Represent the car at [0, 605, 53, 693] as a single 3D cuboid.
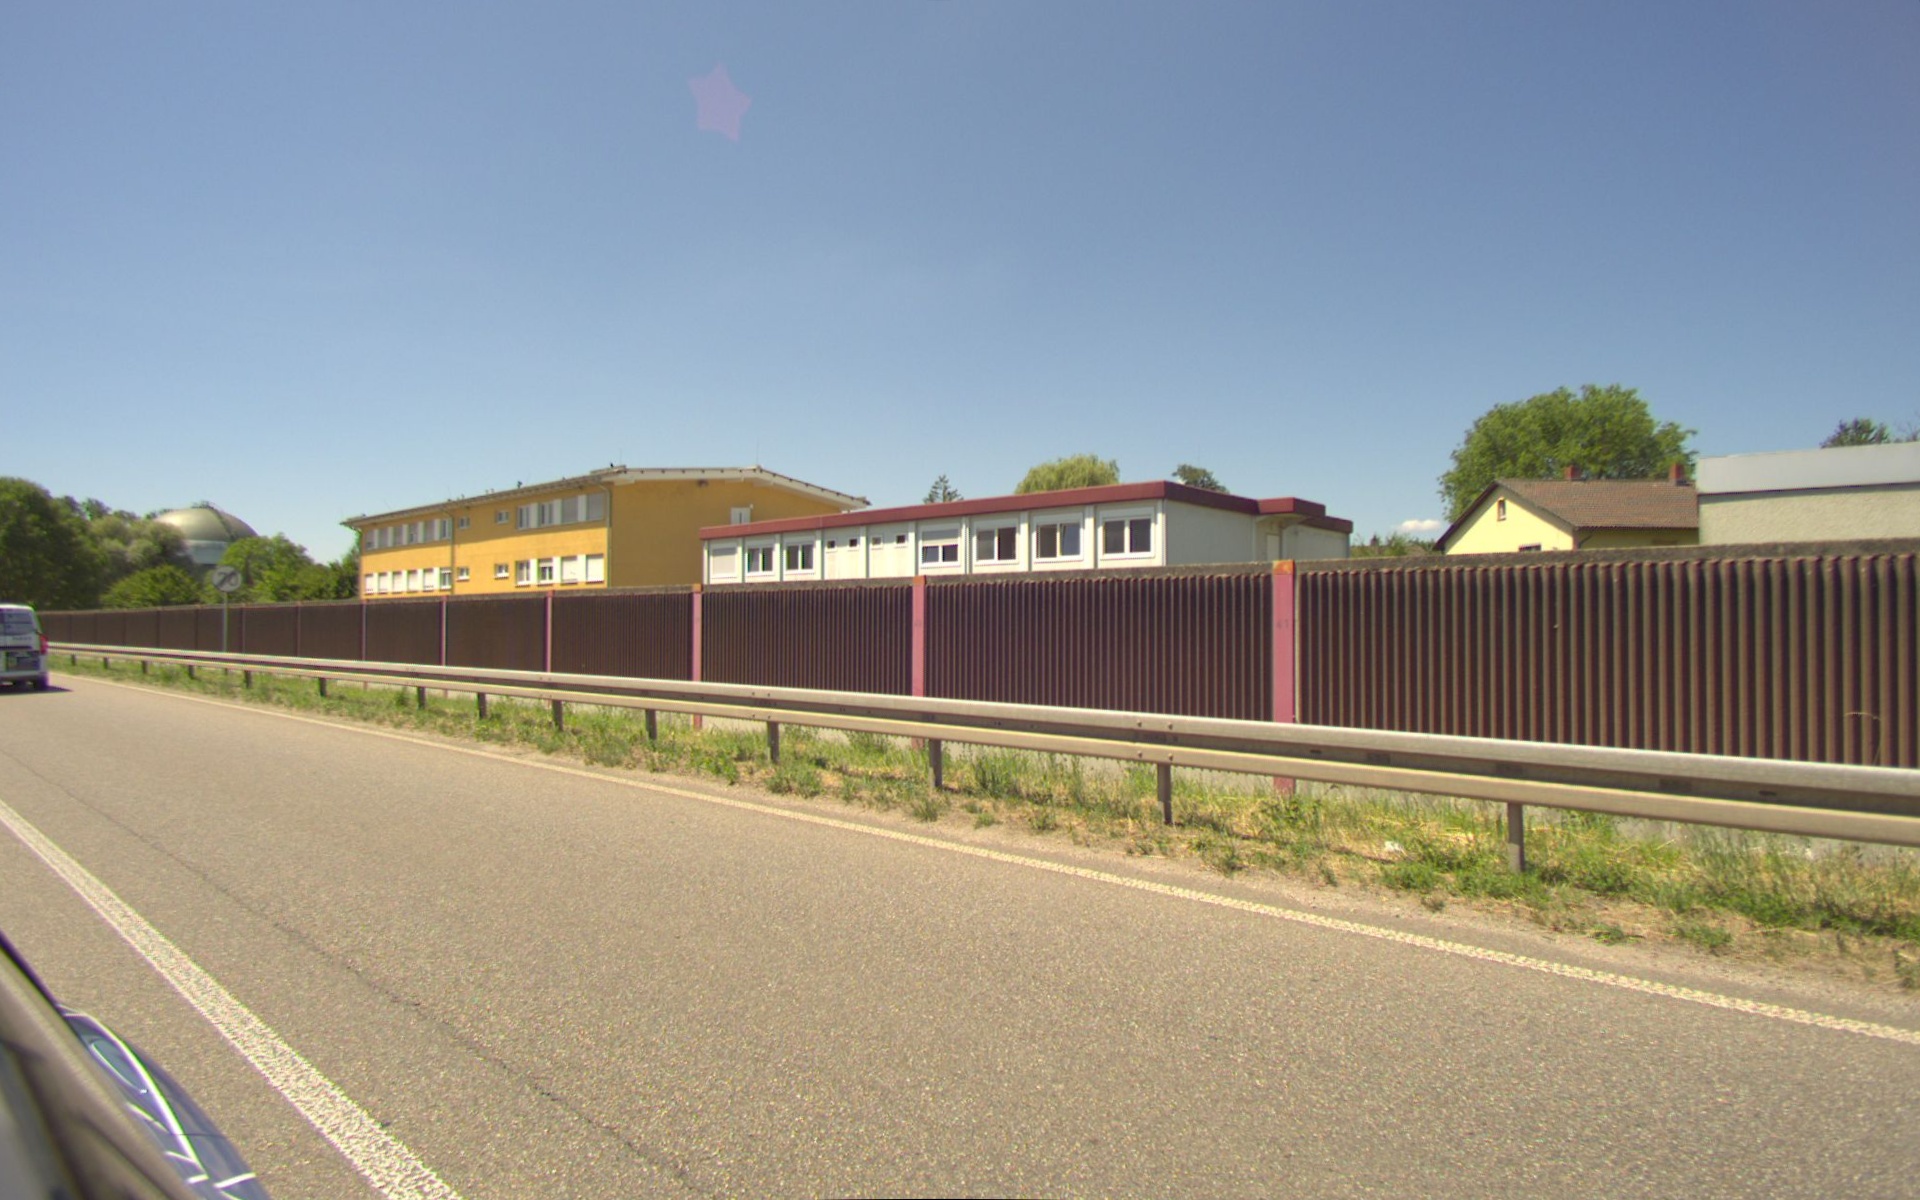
[{"bbox_3d":[-21.019,1.019,21.380,4.768,1.753,1.870,-1,-1,37],"label":"car"}]
